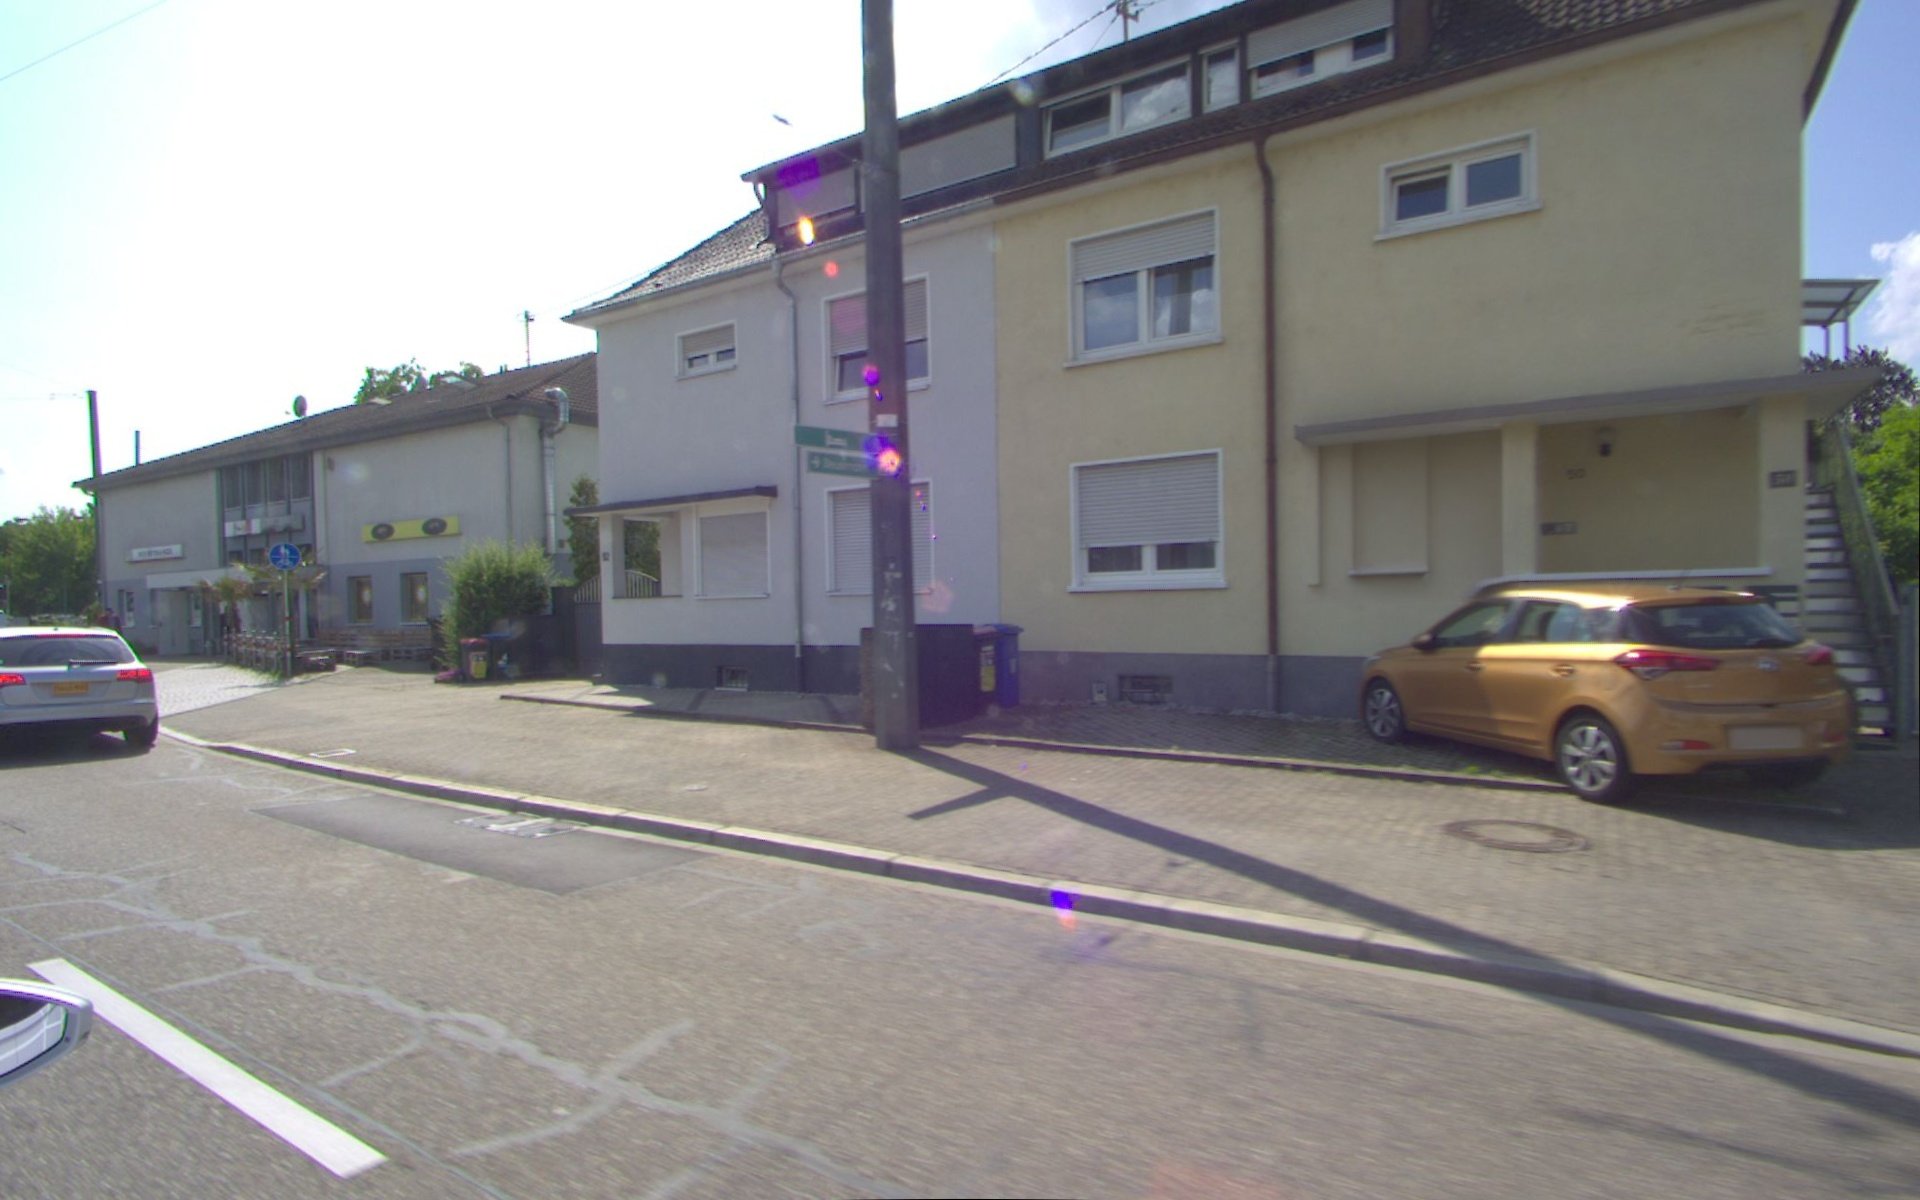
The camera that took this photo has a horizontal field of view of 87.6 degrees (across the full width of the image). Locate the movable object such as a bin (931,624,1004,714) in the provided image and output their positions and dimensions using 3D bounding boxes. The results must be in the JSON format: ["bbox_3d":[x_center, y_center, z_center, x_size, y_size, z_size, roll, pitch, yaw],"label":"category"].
[{"bbox_3d":[0.092,0.835,12.402,0.675,1.061,0.637,0,0,32],"label":"movable object such as a bin"}]

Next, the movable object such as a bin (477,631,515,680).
[{"bbox_3d":[-9.420,1.120,20.338,0.541,0.947,0.440,0,1,27],"label":"movable object such as a bin"}]

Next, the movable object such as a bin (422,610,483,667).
[{"bbox_3d":[-12.690,0.950,25.074,0.874,1.351,1.079,2,2,33],"label":"movable object such as a bin"}]

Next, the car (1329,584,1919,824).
[{"bbox_3d":[5.012,0.617,8.391,1.879,1.478,4.089,0,1,-8],"label":"car"}]

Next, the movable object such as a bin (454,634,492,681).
[{"bbox_3d":[-9.684,1.130,19.910,0.537,0.907,0.444,0,1,27],"label":"movable object such as a bin"}]

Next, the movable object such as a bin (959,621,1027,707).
[{"bbox_3d":[0.428,0.815,13.021,0.650,1.069,0.644,0,0,32],"label":"movable object such as a bin"}]

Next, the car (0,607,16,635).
[{"bbox_3d":[-67.805,1.451,68.238,1.971,1.962,4.668,0,0,32],"label":"car"}]

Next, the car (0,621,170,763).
[{"bbox_3d":[-11.778,1.033,12.639,4.479,1.512,1.847,-1,-1,38],"label":"car"}]

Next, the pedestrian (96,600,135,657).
[{"bbox_3d":[-27.748,0.937,32.887,0.693,1.807,0.719,0,3,34],"label":"pedestrian"}]
